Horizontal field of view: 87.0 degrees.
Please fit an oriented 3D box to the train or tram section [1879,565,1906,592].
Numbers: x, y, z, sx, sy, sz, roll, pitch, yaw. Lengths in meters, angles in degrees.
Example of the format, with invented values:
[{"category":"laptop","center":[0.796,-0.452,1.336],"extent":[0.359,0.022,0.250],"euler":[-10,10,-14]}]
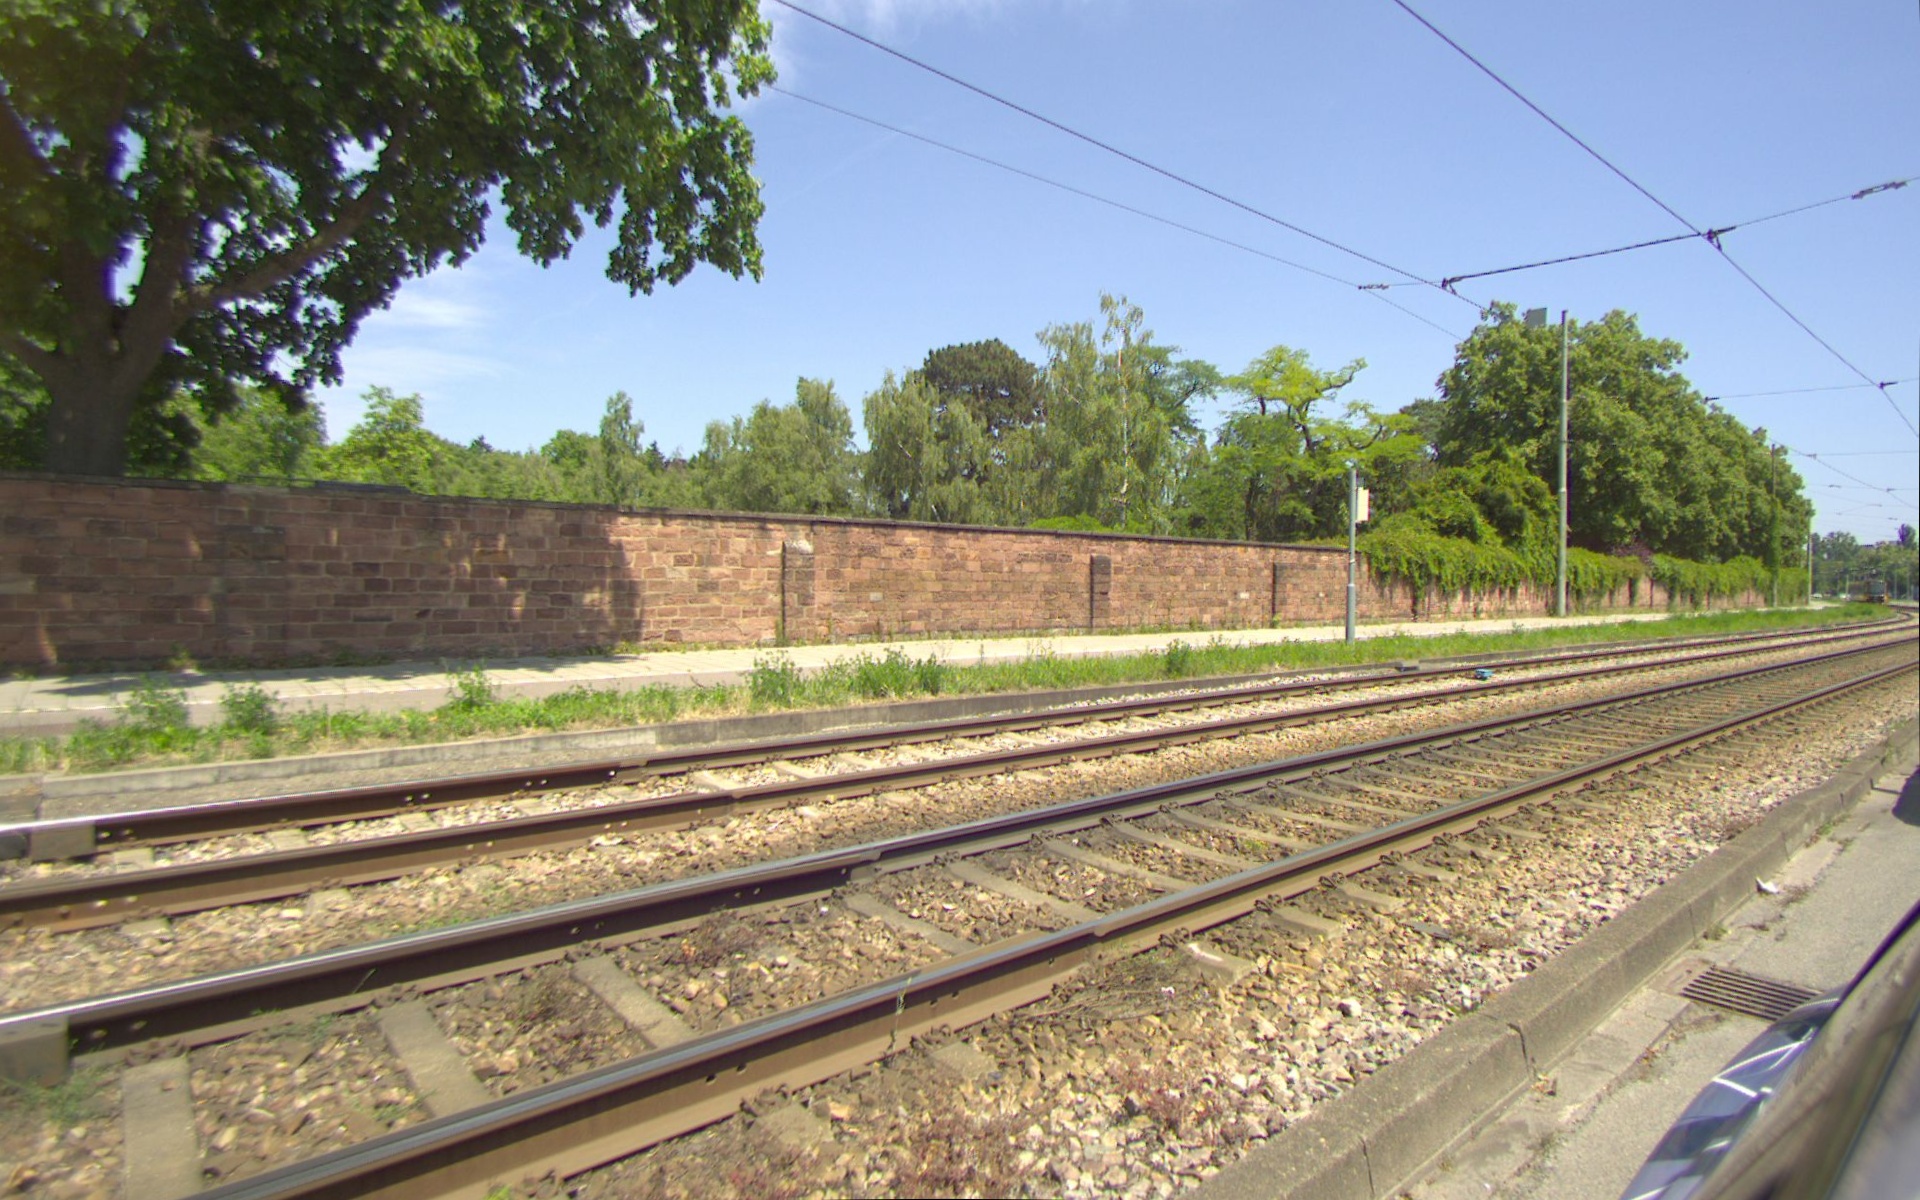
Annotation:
[{"category":"train or tram section","center":[140.534,-3.213,152.469],"extent":[2.805,3.855,14.041],"euler":[0,1,43]}]
